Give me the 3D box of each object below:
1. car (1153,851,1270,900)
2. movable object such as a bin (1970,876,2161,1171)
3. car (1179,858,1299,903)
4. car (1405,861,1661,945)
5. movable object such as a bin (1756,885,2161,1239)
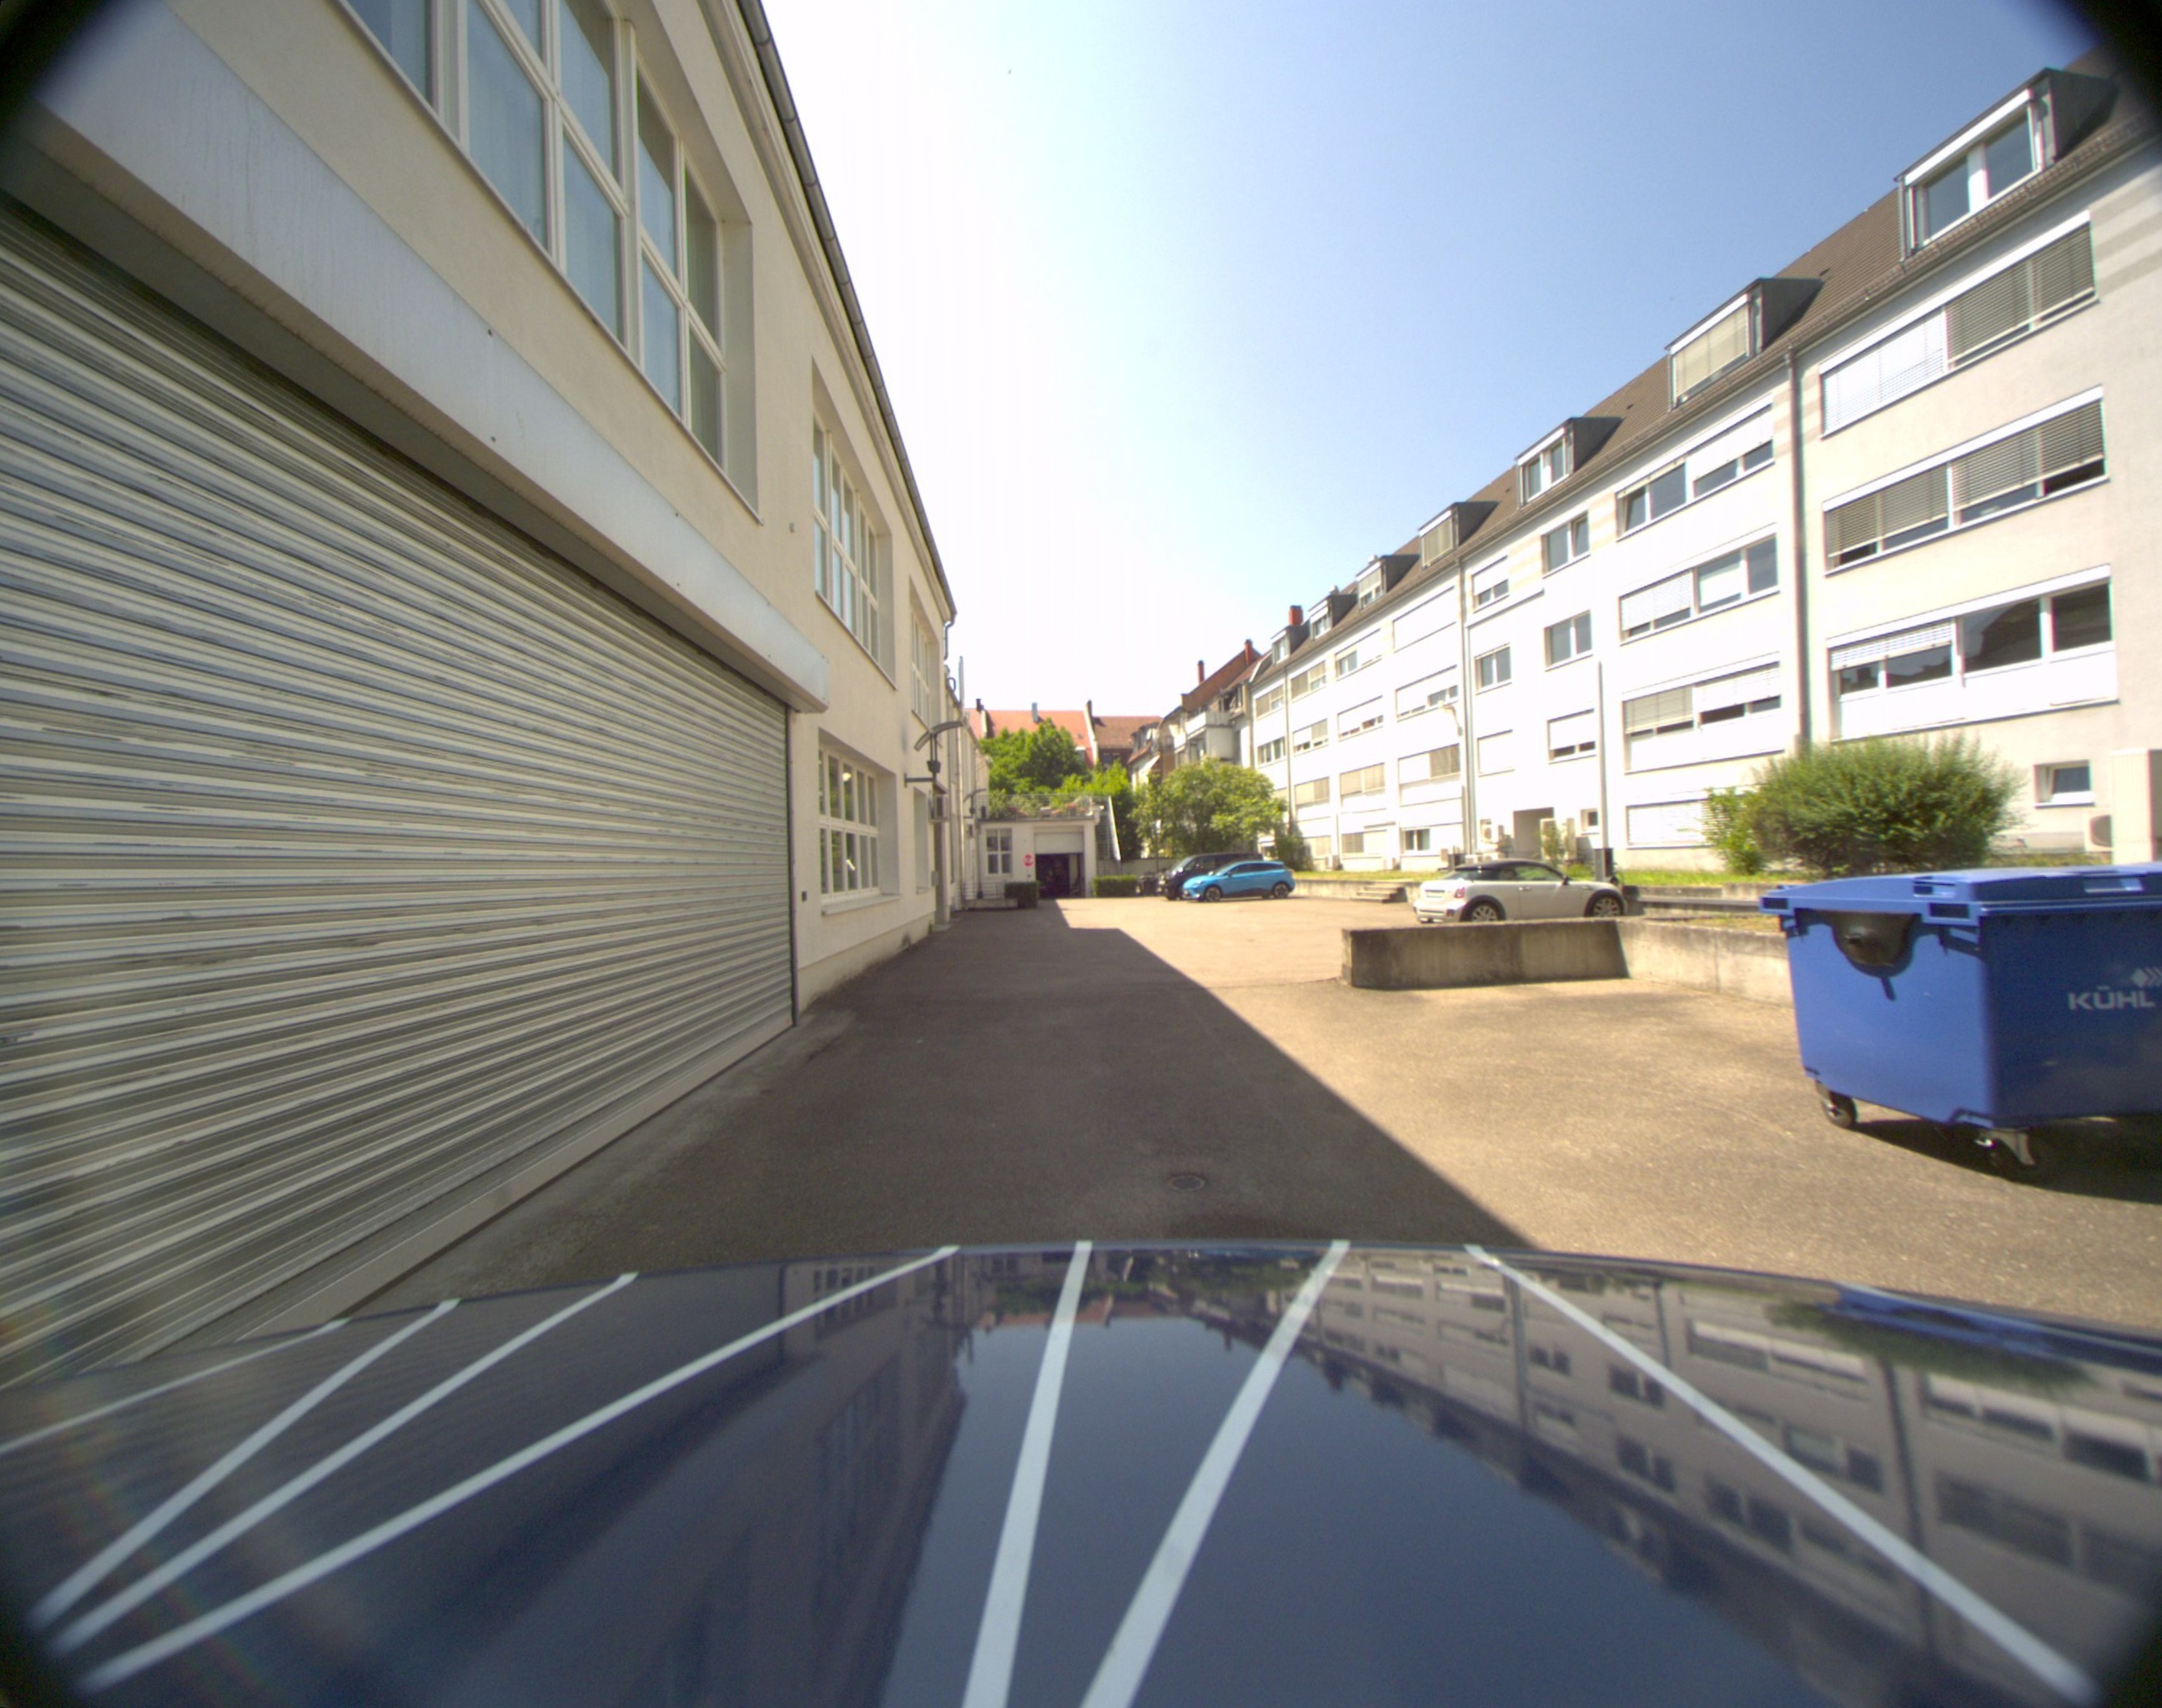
[{"bbox_3d":[5.466,0.880,32.144,4.450,1.821,1.999,-2,0,-6],"label":"car"},{"bbox_3d":[5.625,0.795,3.708,1.258,1.320,1.104,-2,0,-3],"label":"movable object such as a bin"},{"bbox_3d":[6.112,1.009,29.598,4.169,1.544,1.858,-2,0,-8],"label":"car"},{"bbox_3d":[8.583,0.881,14.591,3.999,1.428,1.710,-1,0,-7],"label":"car"},{"bbox_3d":[4.327,0.846,3.589,1.258,1.320,1.104,-2,0,-3],"label":"movable object such as a bin"}]
